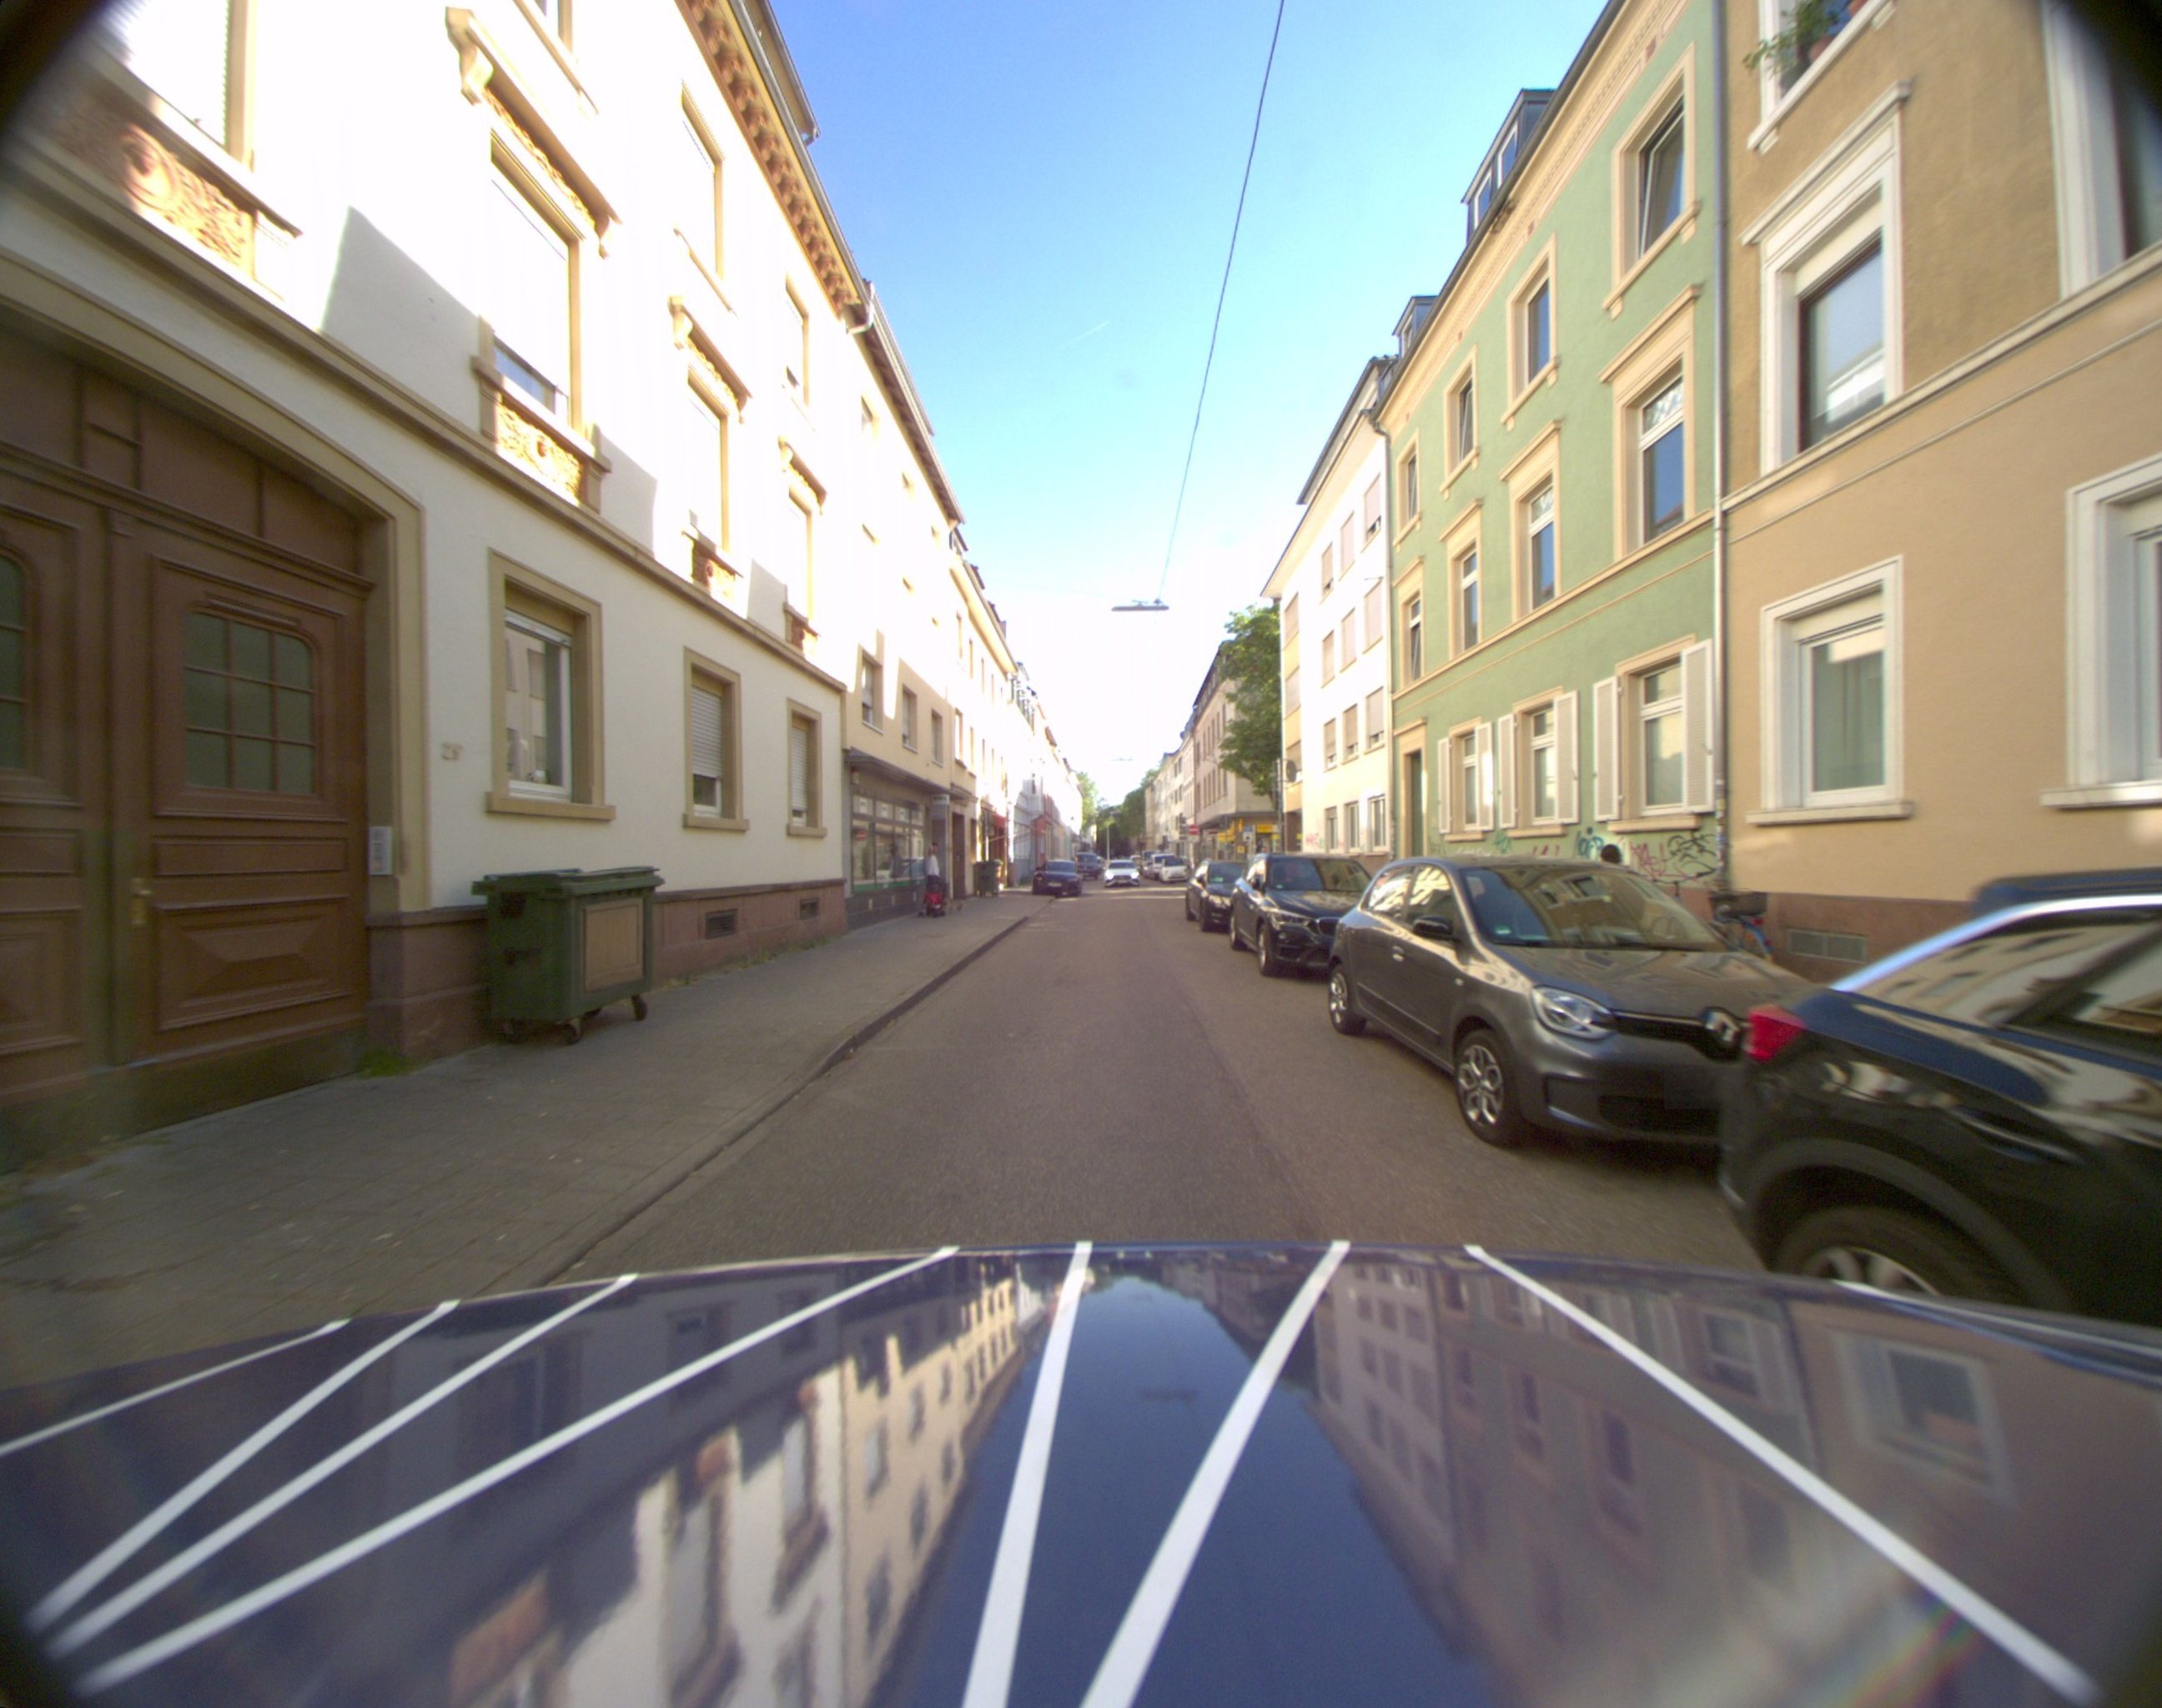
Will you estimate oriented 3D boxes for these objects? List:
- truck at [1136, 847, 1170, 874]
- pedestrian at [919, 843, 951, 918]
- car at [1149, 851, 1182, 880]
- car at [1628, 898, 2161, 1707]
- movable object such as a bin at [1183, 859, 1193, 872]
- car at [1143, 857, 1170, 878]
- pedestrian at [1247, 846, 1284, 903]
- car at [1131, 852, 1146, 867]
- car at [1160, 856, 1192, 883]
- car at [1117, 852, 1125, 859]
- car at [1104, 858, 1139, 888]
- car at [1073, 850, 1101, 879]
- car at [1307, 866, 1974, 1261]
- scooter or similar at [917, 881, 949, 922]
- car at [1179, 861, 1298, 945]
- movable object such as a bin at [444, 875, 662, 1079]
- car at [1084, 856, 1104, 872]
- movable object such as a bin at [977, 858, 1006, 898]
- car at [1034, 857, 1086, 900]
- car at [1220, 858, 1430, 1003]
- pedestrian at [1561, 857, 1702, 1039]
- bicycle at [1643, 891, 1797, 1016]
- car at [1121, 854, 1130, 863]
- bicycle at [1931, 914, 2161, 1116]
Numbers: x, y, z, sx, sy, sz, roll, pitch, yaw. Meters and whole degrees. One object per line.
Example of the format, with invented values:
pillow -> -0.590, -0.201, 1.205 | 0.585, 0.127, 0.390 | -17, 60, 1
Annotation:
truck -> 6.498, 0.553, 69.659 | 2.170, 2.295, 6.345 | 1, 1, -3
pedestrian -> -3.720, 0.667, 19.319 | 0.651, 1.849, 0.747 | 2, 0, -19
car -> 5.761, 0.777, 52.304 | 1.771, 1.887, 4.809 | 1, 0, 1
car -> 2.566, 0.918, 0.336 | 1.717, 1.522, 4.368 | 0, 0, 4
movable object such as a bin -> 9.298, 0.983, 66.163 | 0.787, 1.066, 0.696 | -1, 1, -2
car -> 5.764, 1.010, 58.313 | 1.668, 1.514, 4.489 | 1, 0, 2
pedestrian -> 5.989, 0.646, 24.732 | 0.913, 1.822, 1.245 | 0, 1, 2
car -> 8.125, 0.729, 107.527 | 1.913, 2.076, 4.697 | 0, 0, 3
car -> 5.700, 0.898, 46.083 | 1.671, 1.551, 3.723 | 0, 0, 3
car -> 10.303, 0.334, 196.564 | 1.985, 1.674, 4.022 | 0, 1, 3
car -> 2.132, 0.979, 40.334 | 1.761, 1.399, 4.022 | 0, 1, 3
car -> 0.489, 0.767, 57.001 | 1.974, 2.017, 4.899 | -2, 0, 1
car -> 2.872, 0.893, 5.094 | 1.619, 1.544, 3.978 | 0, 0, 2
scooter or similar -> -3.564, 1.125, 18.351 | 0.491, 0.939, 0.869 | 1, 0, 9
car -> 3.282, 0.943, 16.745 | 1.718, 1.480, 4.852 | 2, 0, 2
movable object such as a bin -> -4.198, 0.914, 6.172 | 0.839, 1.382, 1.297 | 2, 2, 1
car -> 1.306, 0.952, 74.659 | 1.744, 1.534, 4.051 | 0, 1, 3
movable object such as a bin -> -3.284, 0.867, 27.969 | 0.748, 1.428, 1.373 | 2, 1, 4
car -> -0.805, 0.966, 32.075 | 1.805, 1.570, 4.898 | -1, 0, 2
car -> 3.169, 0.872, 10.883 | 1.748, 1.605, 4.604 | 1, 0, 3
pedestrian -> 5.513, 0.899, 7.668 | 0.766, 1.704, 0.883 | -2, 1, 2
bicycle -> 6.574, 0.959, 7.930 | 0.361, 1.023, 1.919 | 0, 1, 12
car -> 9.135, 0.883, 156.878 | 1.786, 1.674, 4.022 | 0, 1, 3
bicycle -> 6.371, 0.969, 4.585 | 0.403, 1.050, 1.836 | -1, 1, -1
